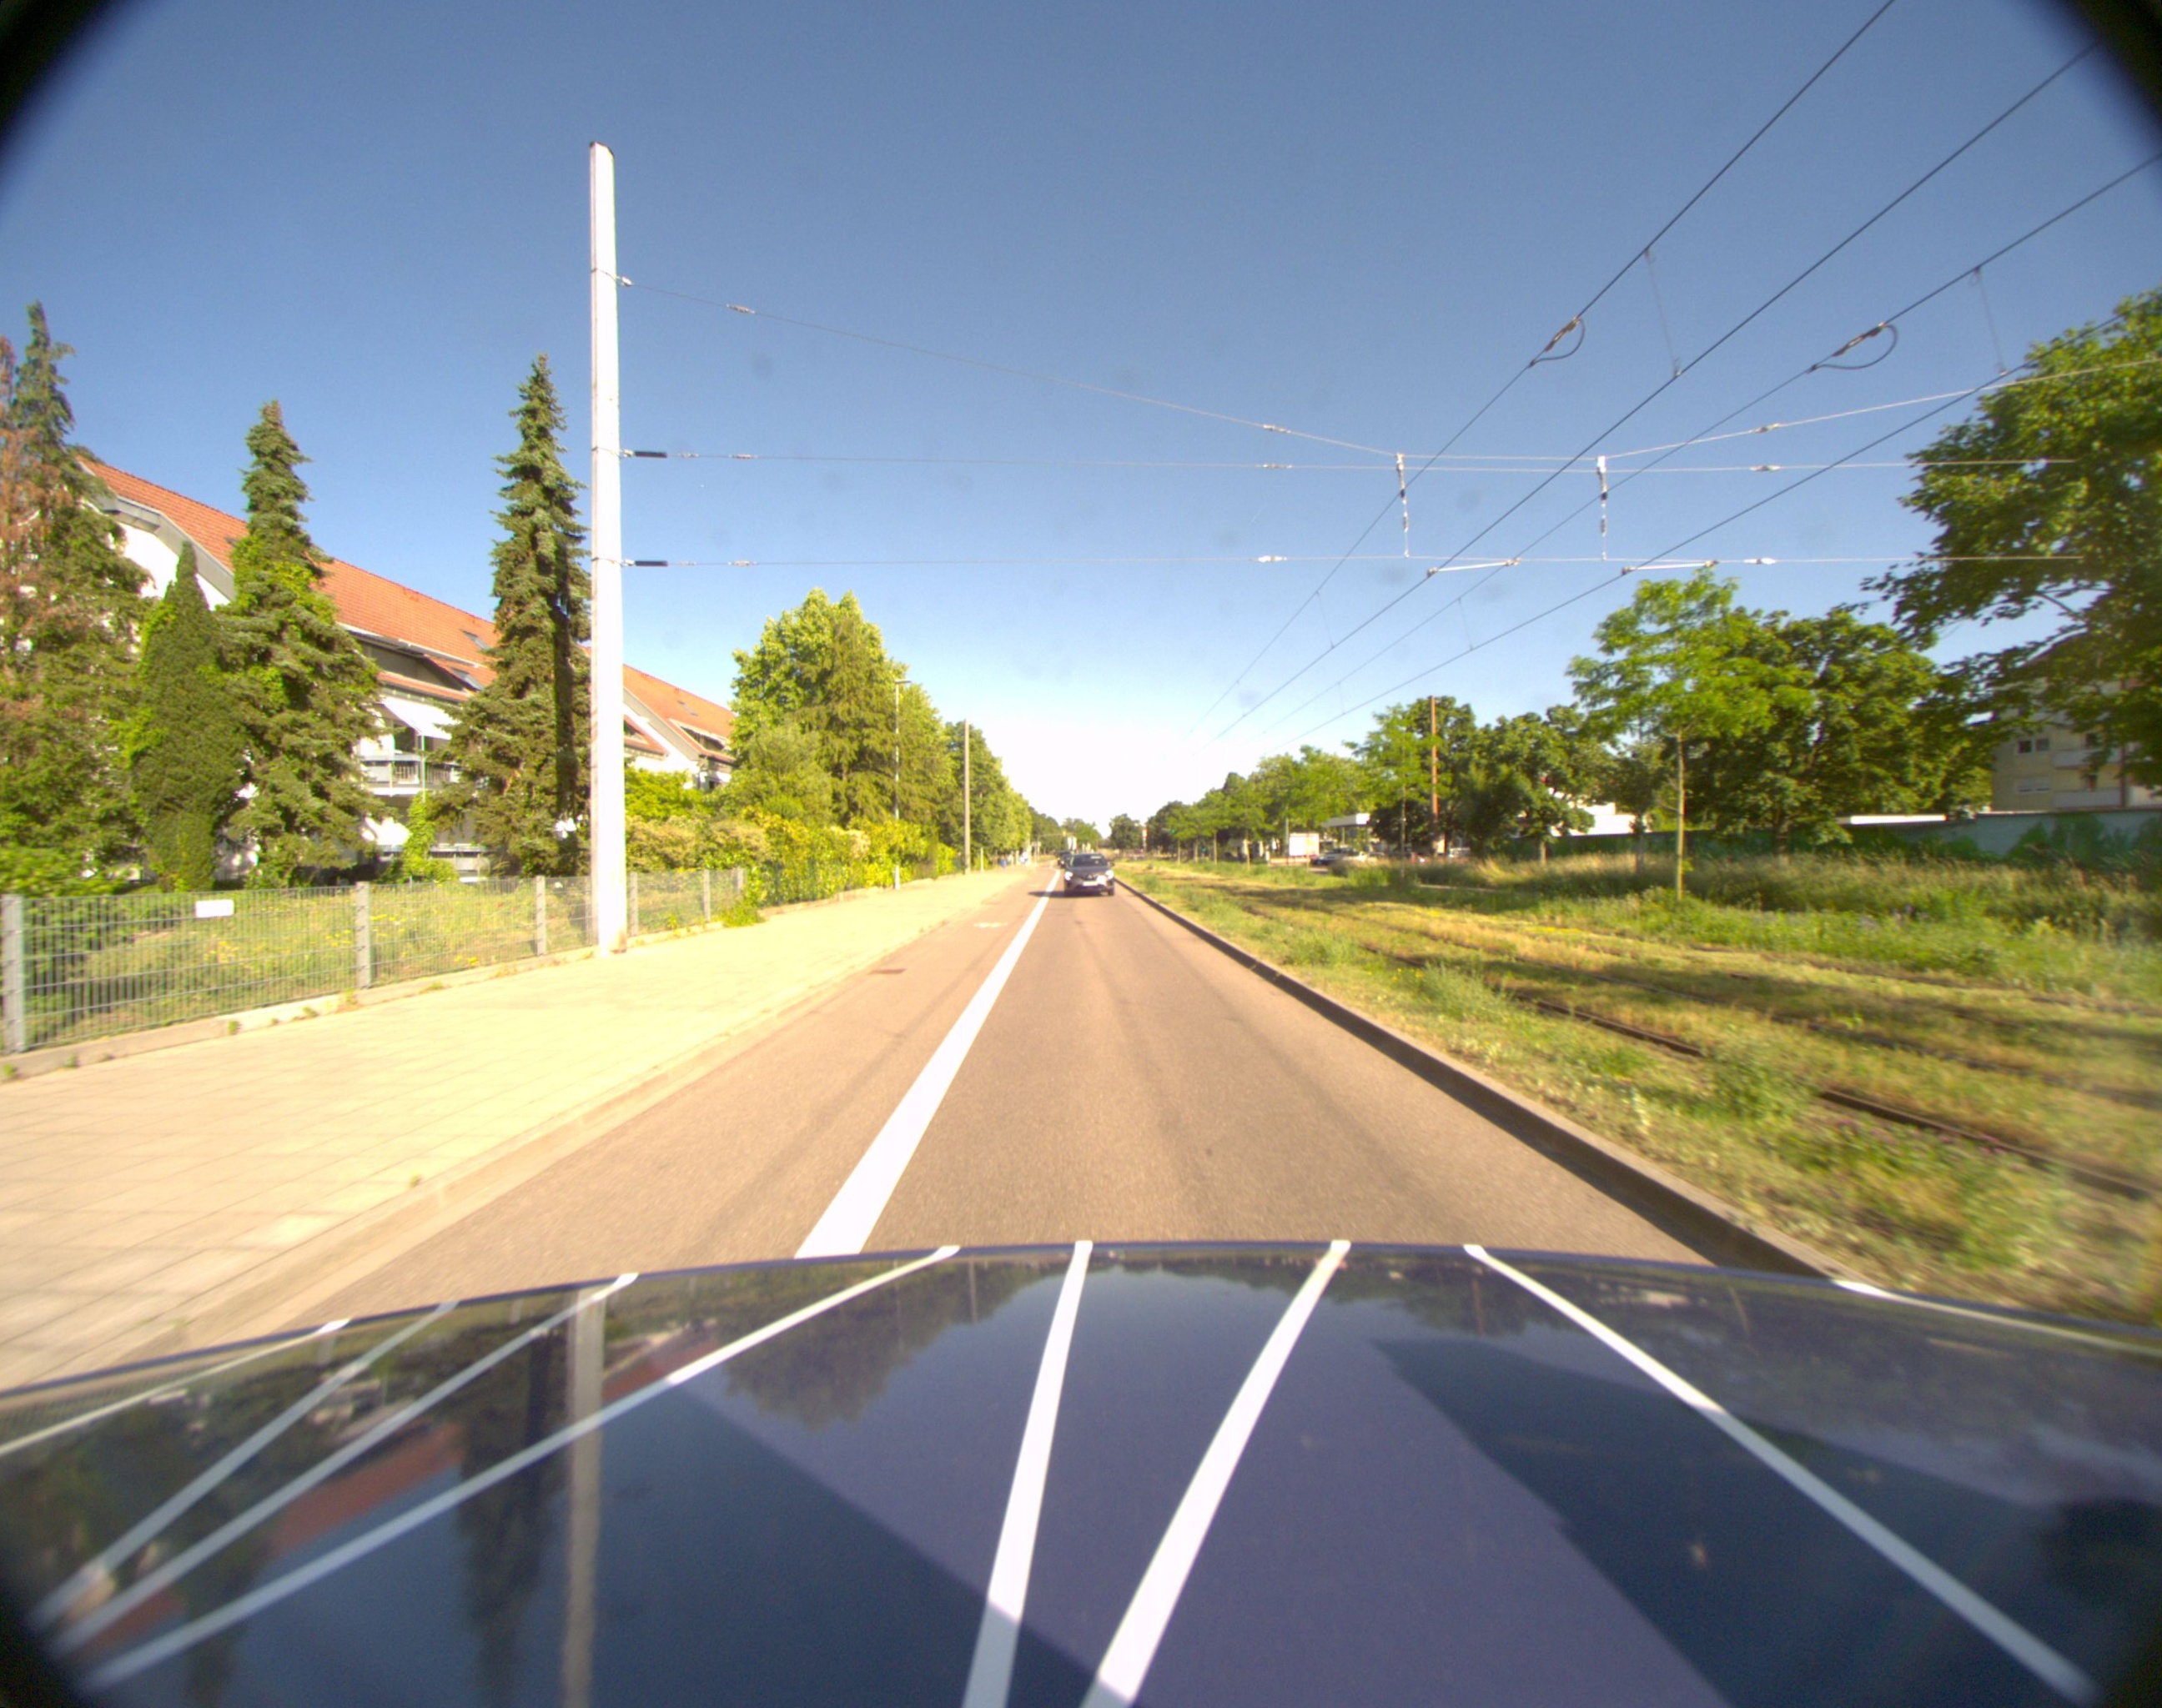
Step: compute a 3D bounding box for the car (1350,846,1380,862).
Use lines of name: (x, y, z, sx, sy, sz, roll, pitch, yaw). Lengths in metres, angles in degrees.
car: (28.610, 0.008, 76.568, 1.712, 1.417, 4.465, -1, 1, 35)

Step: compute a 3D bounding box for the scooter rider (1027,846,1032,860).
scooter rider: (-6.298, -0.127, 92.769, 0.552, 1.757, 0.599, -2, 1, -2)

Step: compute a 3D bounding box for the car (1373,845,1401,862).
car: (29.800, -0.029, 73.881, 2.022, 1.499, 4.897, 0, 2, 27)

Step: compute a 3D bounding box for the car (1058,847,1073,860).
car: (-2.263, -0.067, 112.177, 1.998, 1.824, 3.999, -2, 1, 0)

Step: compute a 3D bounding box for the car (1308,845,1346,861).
car: (30.184, -0.119, 93.331, 3.996, 1.846, 2.000, -3, 0, 2)

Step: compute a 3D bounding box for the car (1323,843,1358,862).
car: (27.477, -0.166, 80.252, 1.893, 1.899, 4.821, -1, 0, 39)

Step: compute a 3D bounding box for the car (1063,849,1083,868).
car: (-0.841, 0.427, 80.327, 1.998, 1.824, 3.999, -2, 1, 0)

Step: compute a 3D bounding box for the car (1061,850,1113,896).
car: (0.163, 0.681, 29.853, 1.868, 1.614, 3.999, -1, 0, -2)

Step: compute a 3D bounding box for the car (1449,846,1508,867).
car: (32.053, 0.206, 61.292, 3.827, 1.501, 1.704, -2, 1, 0)

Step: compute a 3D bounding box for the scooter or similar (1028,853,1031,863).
scooter or similar: (-6.285, 0.469, 92.691, 0.349, 1.130, 1.208, 0, 1, -2)
